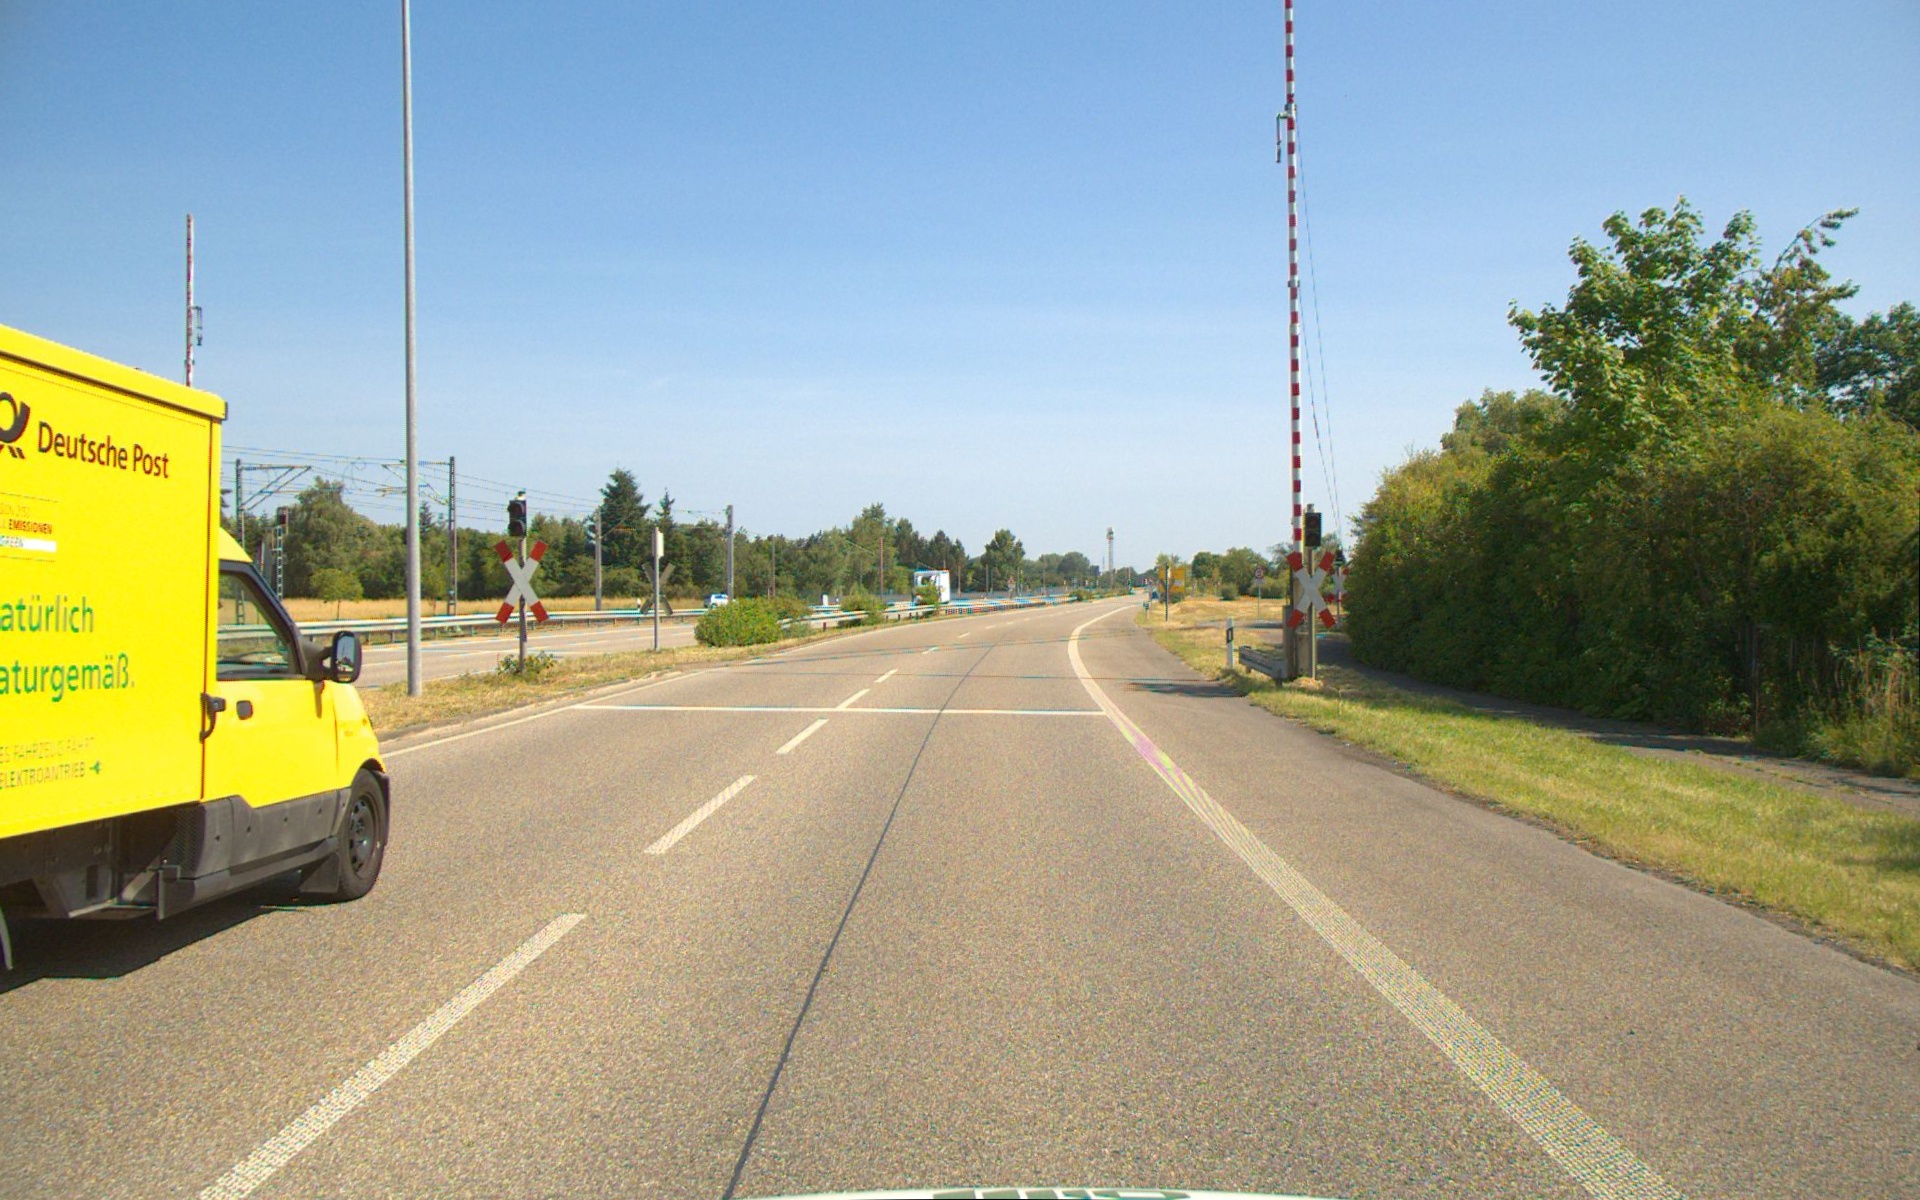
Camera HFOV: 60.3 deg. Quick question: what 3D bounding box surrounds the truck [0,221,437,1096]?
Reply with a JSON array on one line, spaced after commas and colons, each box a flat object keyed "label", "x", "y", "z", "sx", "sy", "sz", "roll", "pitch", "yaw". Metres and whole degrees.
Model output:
[{"label": "truck", "x": -3.780, "y": 0.156, "z": 5.707, "sx": 2.068, "sy": 2.500, "sz": 5.916, "roll": 1, "pitch": 0, "yaw": 0}]

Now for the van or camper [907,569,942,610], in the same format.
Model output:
[{"label": "van or camper", "x": -3.337, "y": -1.022, "z": 157.019, "sx": 2.816, "sy": 3.745, "sz": 8.646, "roll": 0, "pitch": 0, "yaw": 2}]
